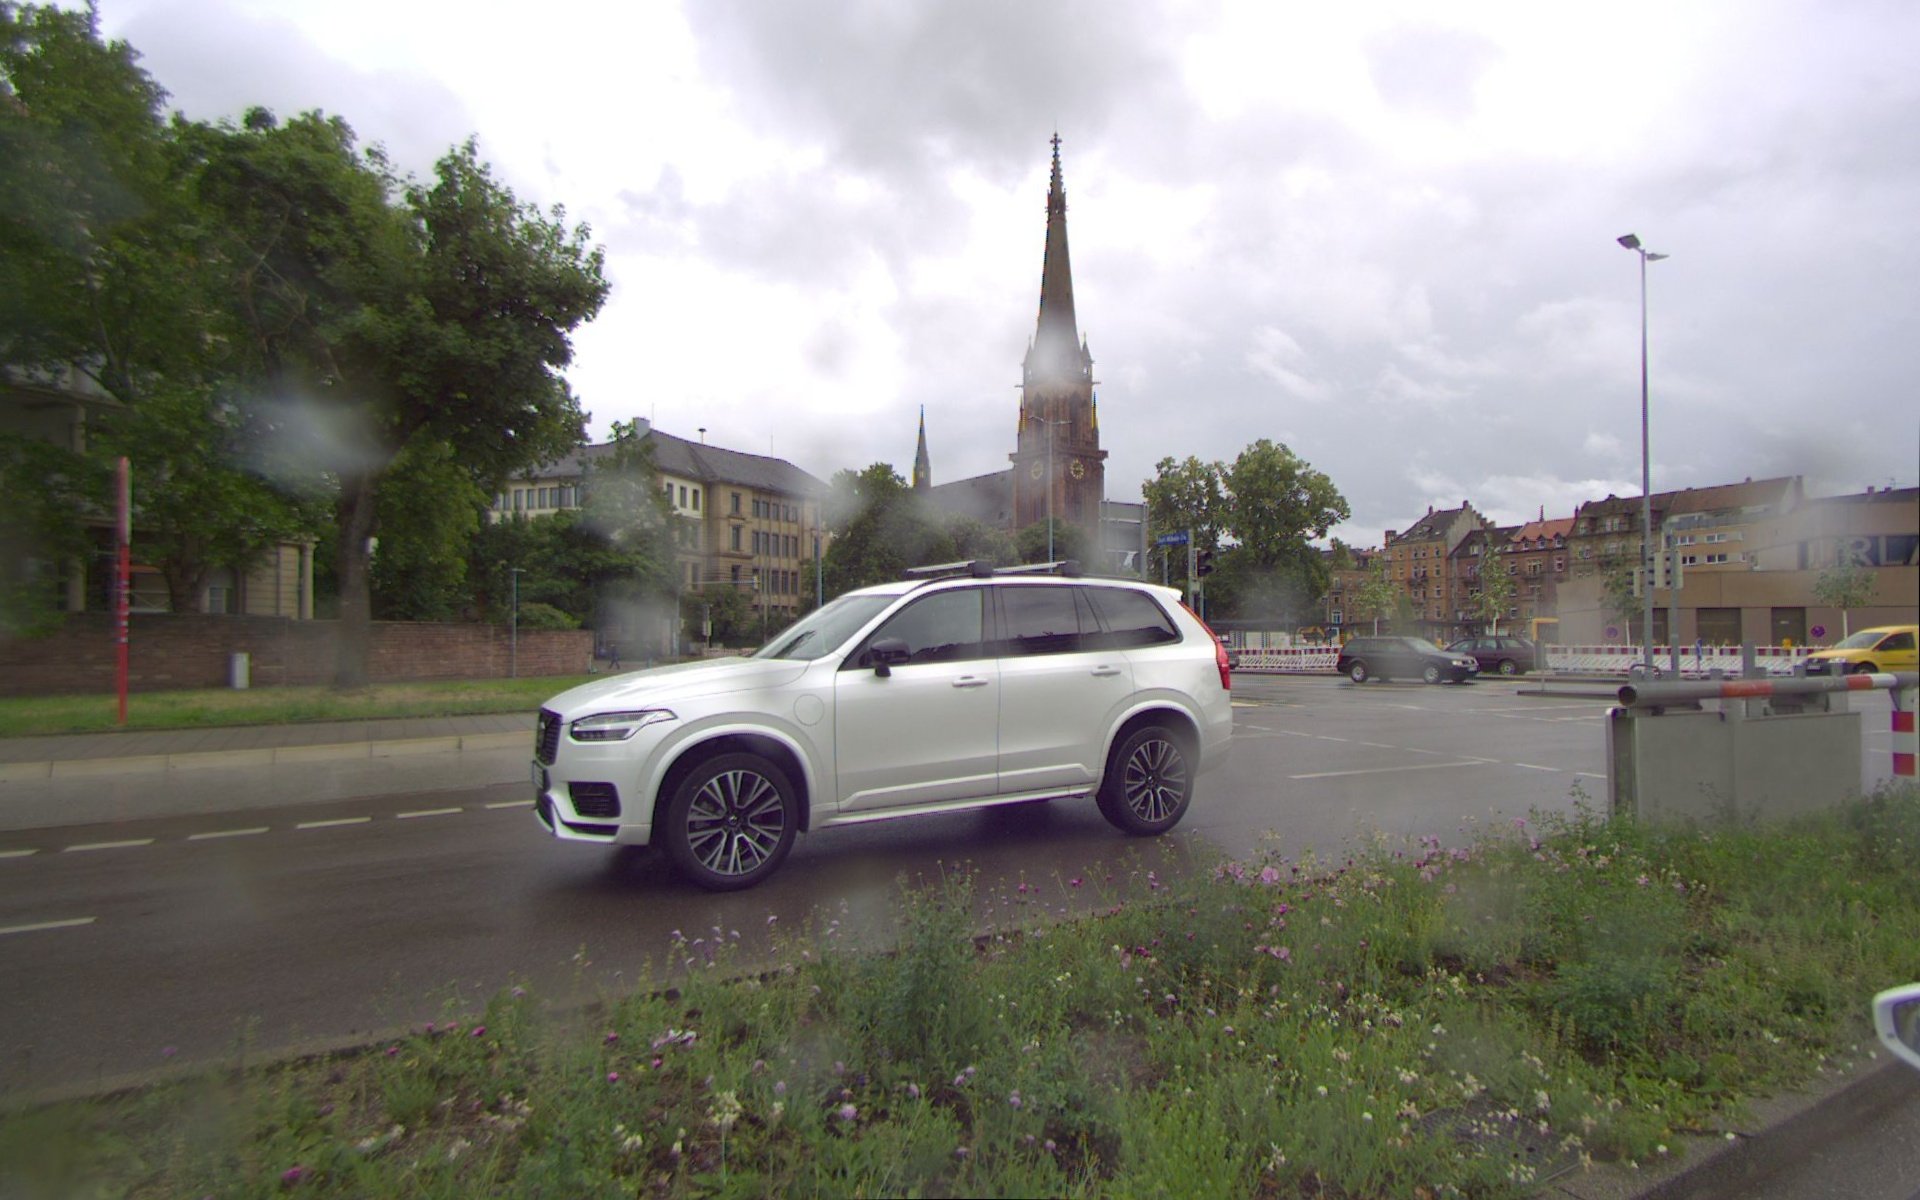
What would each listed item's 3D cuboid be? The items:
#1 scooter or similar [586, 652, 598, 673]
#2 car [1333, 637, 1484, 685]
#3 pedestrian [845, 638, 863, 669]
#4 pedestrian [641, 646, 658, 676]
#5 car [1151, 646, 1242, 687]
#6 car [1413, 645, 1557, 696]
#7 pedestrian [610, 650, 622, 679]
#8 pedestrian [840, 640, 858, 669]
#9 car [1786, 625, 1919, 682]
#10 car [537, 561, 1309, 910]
[{"bbox_3d":[-19.375,3.271,52.877,0.274,1.096,1.078,0,-2,-4],"label":"scooter or similar"},{"bbox_3d":[14.177,1.898,31.979,1.602,1.420,4.163,1,-2,-36],"label":"car"},{"bbox_3d":[-7.261,3.655,68.775,0.945,2.040,0.852,1,-2,-30],"label":"pedestrian"},{"bbox_3d":[-16.421,3.215,53.090,0.662,1.520,0.774,0,-2,0],"label":"pedestrian"},{"bbox_3d":[10.615,2.939,45.270,1.695,1.728,3.780,1,-2,-37],"label":"car"},{"bbox_3d":[18.965,2.495,36.370,4.390,1.728,1.705,-2,-2,37],"label":"car"},{"bbox_3d":[-23.208,4.357,67.741,0.591,1.915,0.606,0,-2,-3],"label":"pedestrian"},{"bbox_3d":[-7.699,3.769,69.610,0.945,2.040,0.852,1,-2,-30],"label":"pedestrian"},{"bbox_3d":[28.203,1.629,30.898,4.069,1.728,1.712,0,-2,3],"label":"car"},{"bbox_3d":[-0.080,0.720,6.966,5.102,1.704,1.818,1,-1,-29],"label":"car"}]
